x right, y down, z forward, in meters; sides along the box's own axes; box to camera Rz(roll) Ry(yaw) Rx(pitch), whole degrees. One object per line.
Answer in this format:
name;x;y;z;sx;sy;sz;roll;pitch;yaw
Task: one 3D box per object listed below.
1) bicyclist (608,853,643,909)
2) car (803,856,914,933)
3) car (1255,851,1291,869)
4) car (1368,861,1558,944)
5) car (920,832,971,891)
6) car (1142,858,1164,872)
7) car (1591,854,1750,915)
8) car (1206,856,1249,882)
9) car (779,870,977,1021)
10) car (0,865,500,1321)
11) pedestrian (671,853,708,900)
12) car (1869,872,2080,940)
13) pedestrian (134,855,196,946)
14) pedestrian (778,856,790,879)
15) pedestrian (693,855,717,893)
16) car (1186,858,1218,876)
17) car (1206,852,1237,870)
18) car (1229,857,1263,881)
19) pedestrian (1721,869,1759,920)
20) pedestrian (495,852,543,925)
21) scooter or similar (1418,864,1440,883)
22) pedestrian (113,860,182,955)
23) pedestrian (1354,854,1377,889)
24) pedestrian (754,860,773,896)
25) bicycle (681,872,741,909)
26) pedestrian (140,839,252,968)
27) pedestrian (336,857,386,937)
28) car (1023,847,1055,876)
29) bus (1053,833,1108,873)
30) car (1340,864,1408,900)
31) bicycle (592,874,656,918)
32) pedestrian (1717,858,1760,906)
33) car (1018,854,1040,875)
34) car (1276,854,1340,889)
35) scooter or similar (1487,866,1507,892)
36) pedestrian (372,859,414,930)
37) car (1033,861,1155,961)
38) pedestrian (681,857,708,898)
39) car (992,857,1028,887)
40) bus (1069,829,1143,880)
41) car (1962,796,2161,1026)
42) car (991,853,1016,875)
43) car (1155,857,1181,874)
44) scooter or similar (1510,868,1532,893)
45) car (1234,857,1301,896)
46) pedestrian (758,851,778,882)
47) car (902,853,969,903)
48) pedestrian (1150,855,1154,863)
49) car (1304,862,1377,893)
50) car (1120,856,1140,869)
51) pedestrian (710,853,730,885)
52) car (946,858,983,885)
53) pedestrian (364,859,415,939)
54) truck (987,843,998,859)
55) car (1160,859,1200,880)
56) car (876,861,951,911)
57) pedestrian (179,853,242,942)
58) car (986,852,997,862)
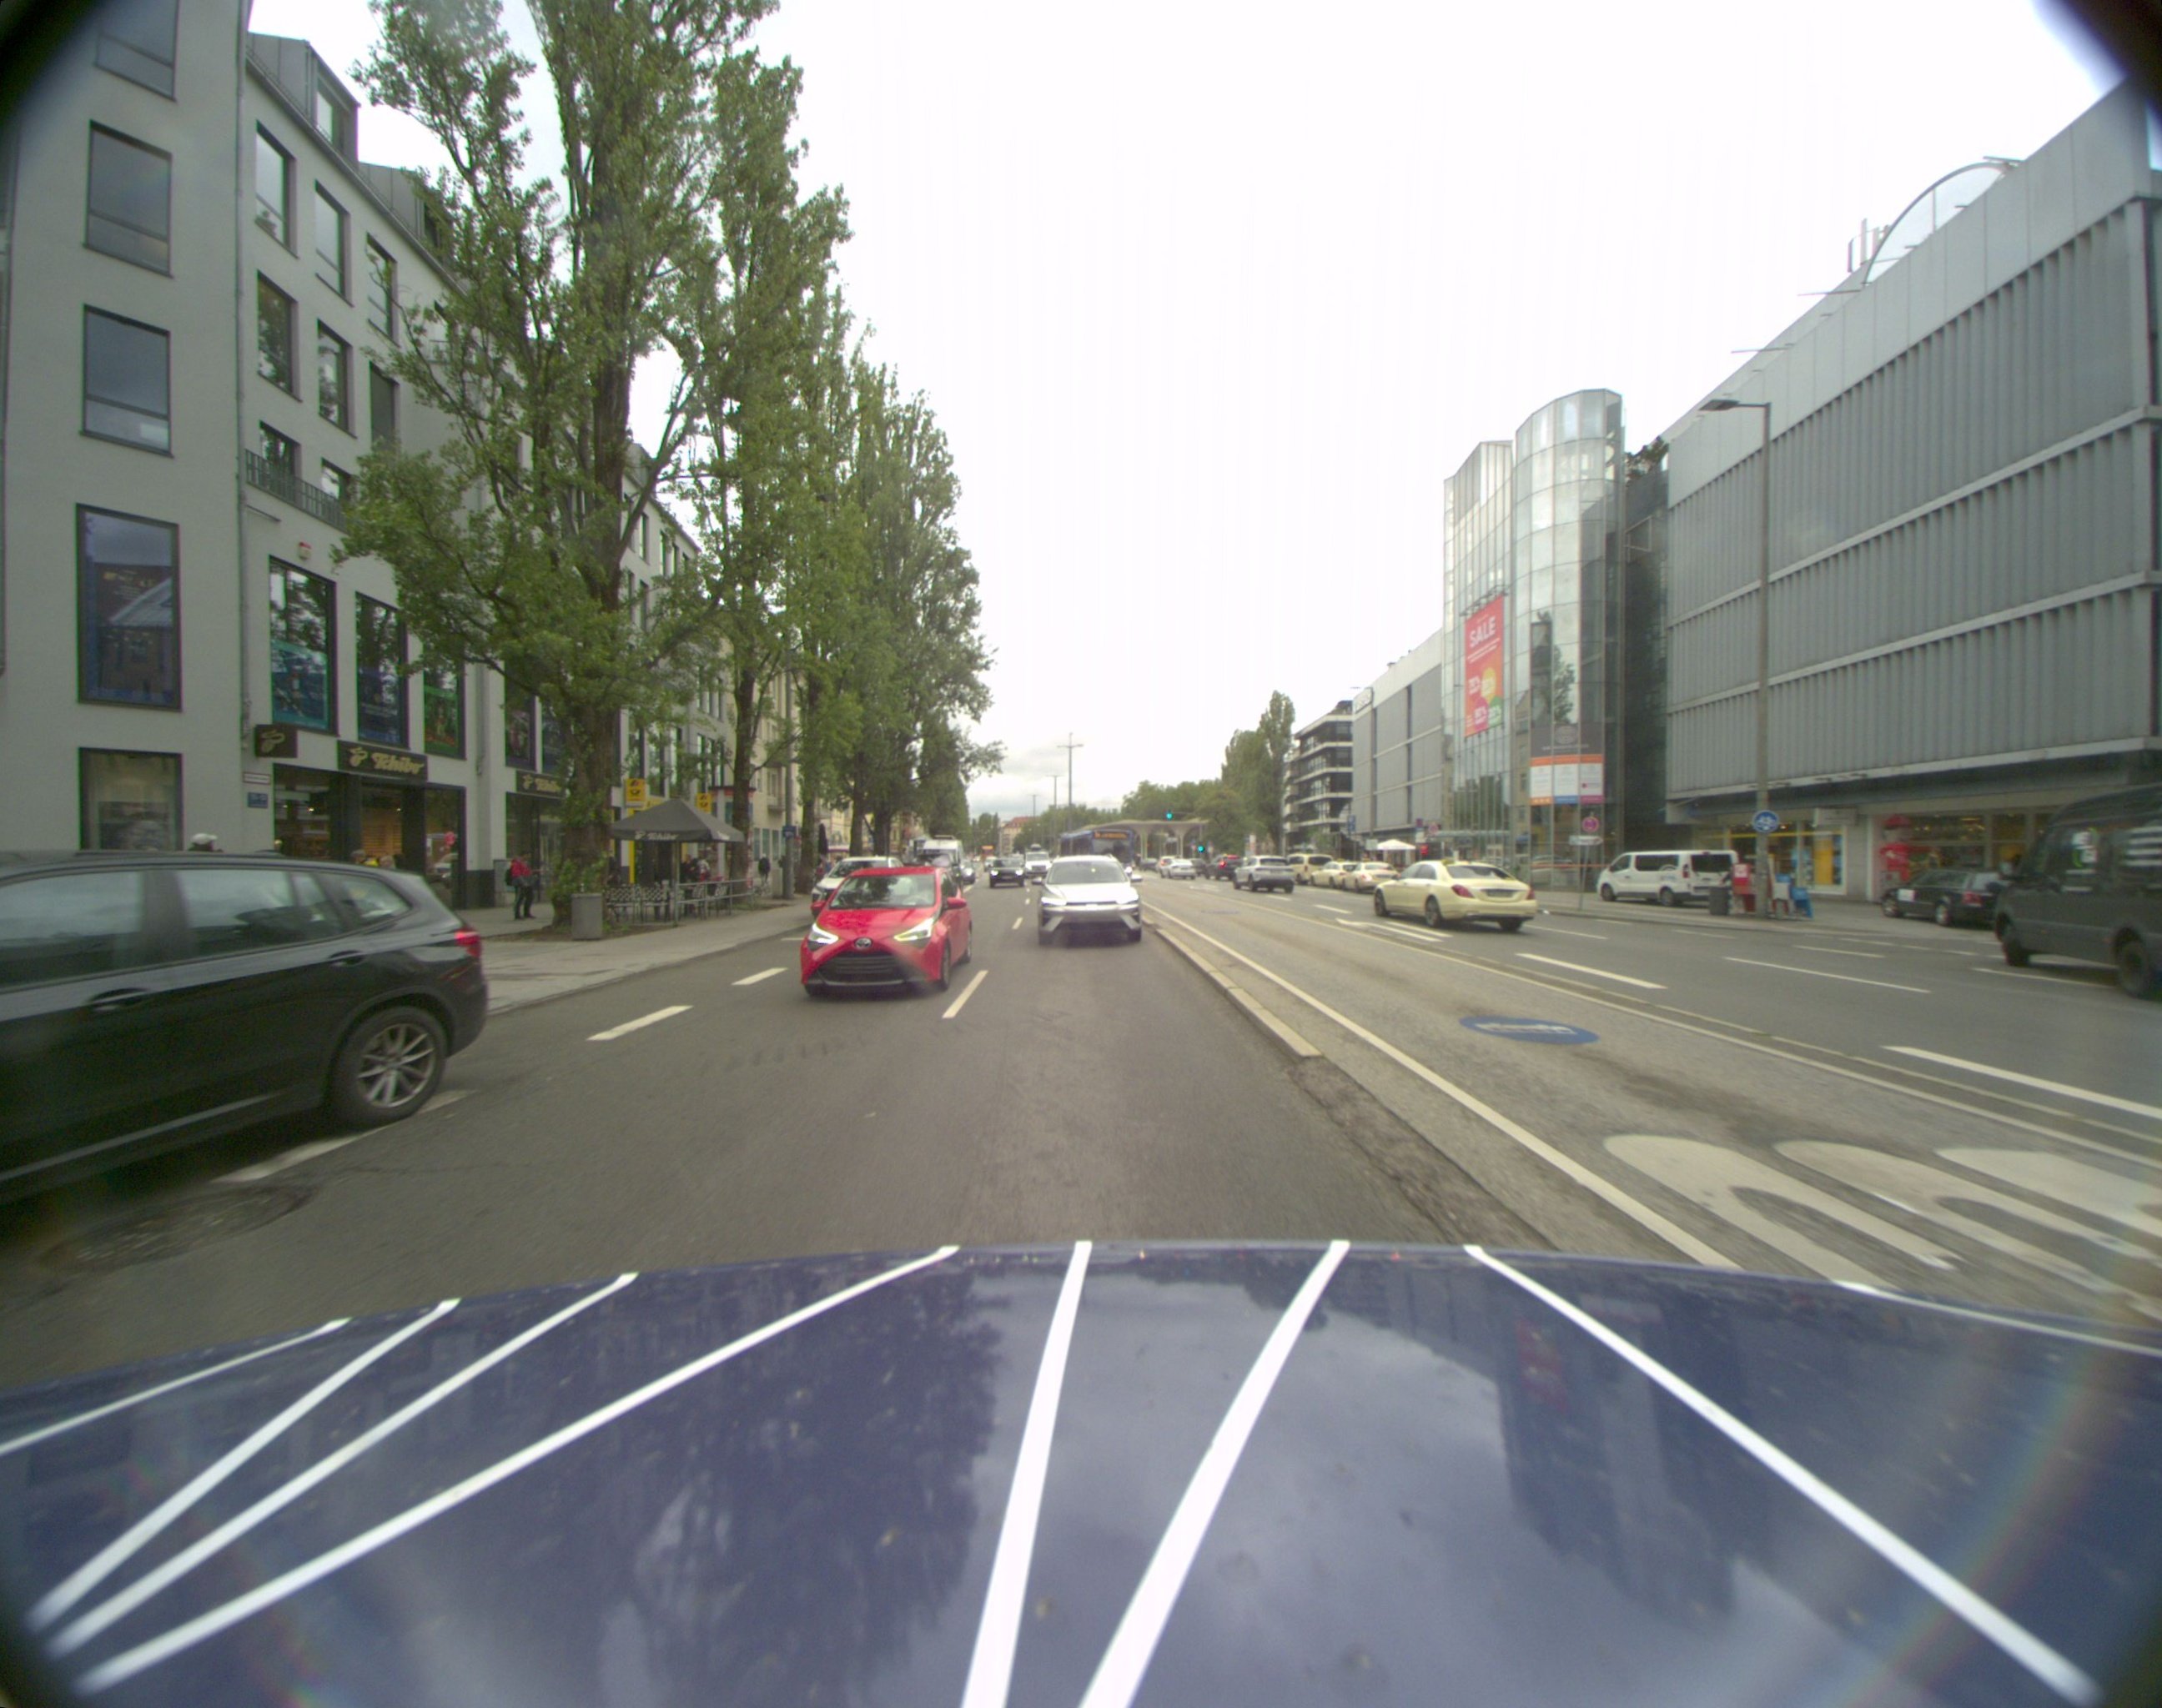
bicyclist;-11.899;0.702;19.873;0.640;1.440;0.440;0;1;0
car;-5.524;0.920;19.424;1.732;1.676;4.407;-1;0;-3
car;17.140;0.519;68.125;1.912;1.558;3.998;0;0;-5
car;8.735;1.009;18.032;1.998;1.579;5.196;2;0;2
car;-6.819;0.319;38.872;1.999;2.726;5.551;-2;1;-5
car;7.908;1.188;83.605;1.734;1.401;4.686;0;0;-3
car;21.215;1.003;27.702;1.998;2.002;5.113;0;0;2
car;10.200;1.016;53.306;2.023;1.706;4.982;0;0;0
car;-2.391;1.006;9.860;1.669;1.438;3.595;-2;1;-2
car;-5.160;0.982;3.042;1.929;1.690;4.650;-1;1;2
pedestrian;-13.695;0.771;26.593;0.802;1.627;1.023;0;0;-5
car;22.726;1.230;19.622;1.923;1.430;4.516;1;0;27
pedestrian;-16.846;0.842;13.985;0.506;1.615;0.550;-1;1;23
pedestrian;-21.304;0.953;54.508;0.602;1.641;0.764;0;0;-4
pedestrian;-15.608;0.834;31.546;0.684;1.549;0.750;0;0;-5
car;10.025;1.056;62.977;1.789;1.457;3.998;1;0;-3
car;13.207;0.655;71.854;1.592;1.602;4.473;0;0;-7
car;12.664;1.102;58.420;1.889;1.688;4.384;1;0;4
pedestrian;19.542;1.189;22.536;0.547;1.486;0.655;0;1;-3
pedestrian;-13.565;0.820;18.361;0.670;1.715;0.768;0;1;-14
scooter or similar;22.121;1.243;48.340;0.368;1.133;1.378;0;0;-26
pedestrian;-16.407;0.916;13.366;0.550;1.615;0.506;-2;2;-28
pedestrian;15.447;0.944;41.312;0.788;1.856;0.846;2;2;-9
pedestrian;-11.947;0.894;28.609;0.597;1.334;0.391;-2;2;-28
bicycle;-12.098;1.189;24.848;1.511;1.132;0.894;1;0;11
pedestrian;-13.625;0.739;11.725;0.648;1.913;0.926;1;1;-2
pedestrian;-14.817;0.867;15.646;0.491;1.625;0.569;0;1;0
car;-3.022;0.500;54.135;2.000;1.889;4.232;-2;1;-7
bus;-0.214;-0.126;61.587;2.943;2.927;11.204;-1;1;-8
car;13.514;1.239;35.375;1.860;1.461;4.985;2;0;8
bicycle;-11.923;1.064;19.885;0.591;1.057;1.804;0;0;0
pedestrian;25.632;1.094;29.631;0.864;1.824;0.905;0;1;5
car;-4.983;0.966;72.221;1.874;1.760;4.232;-2;1;-7
car;13.885;1.023;46.878;1.999;2.002;5.319;1;0;-4
scooter or similar;20.425;1.222;37.290;0.255;1.217;0.996;0;0;-14
pedestrian;-15.595;0.896;17.234;0.566;1.567;0.675;0;1;-30
car;0.086;0.931;14.313;1.897;1.483;3.998;-2;1;-4
pedestrian;-14.541;0.871;28.616;0.684;1.549;0.750;0;0;-5
car;-3.761;0.886;40.159;1.741;1.461;4.048;-1;0;-6
bus;1.393;-0.011;49.798;2.943;2.927;11.204;-1;1;-8
car;14.495;0.644;10.043;2.171;2.590;6.077;1;0;34
car;-6.577;0.800;64.559;2.000;1.740;3.997;-2;1;-7
car;8.298;1.049;72.763;1.958;1.580;4.000;0;0;0
scooter or similar;21.477;1.289;37.103;0.255;1.166;0.995;0;1;-20
car;8.299;0.966;34.213;1.914;1.594;4.354;0;0;-1
pedestrian;-17.223;0.672;41.801;0.719;1.714;0.741;1;1;31
car;-5.794;0.897;30.915;1.934;1.794;4.778;-2;0;-2
pedestrian;11.293;0.806;120.985;0.550;1.330;0.591;0;0;-8
car;13.993;1.230;41.314;1.983;1.543;5.084;0;0;-3
car;6.251;1.031;97.040;1.999;1.591;4.288;0;0;-4
pedestrian;-17.623;0.726;37.104;0.693;1.576;0.772;0;0;-7
car;-7.076;1.018;46.400;1.730;1.445;4.146;-2;0;-3
pedestrian;-13.745;0.889;15.119;0.491;1.558;0.569;0;1;0
truck;-20.467;-0.678;175.788;2.542;3.468;7.746;0;0;-7
car;7.054;1.105;54.382;1.805;1.386;4.687;0;0;-6
car;-5.479;0.995;25.388;1.776;1.425;4.569;-2;0;-4
pedestrian;-16.166;0.799;14.121;0.548;1.615;0.507;-1;1;10
car;-15.233;0.532;129.327;1.860;1.696;3.997;1;0;-6
